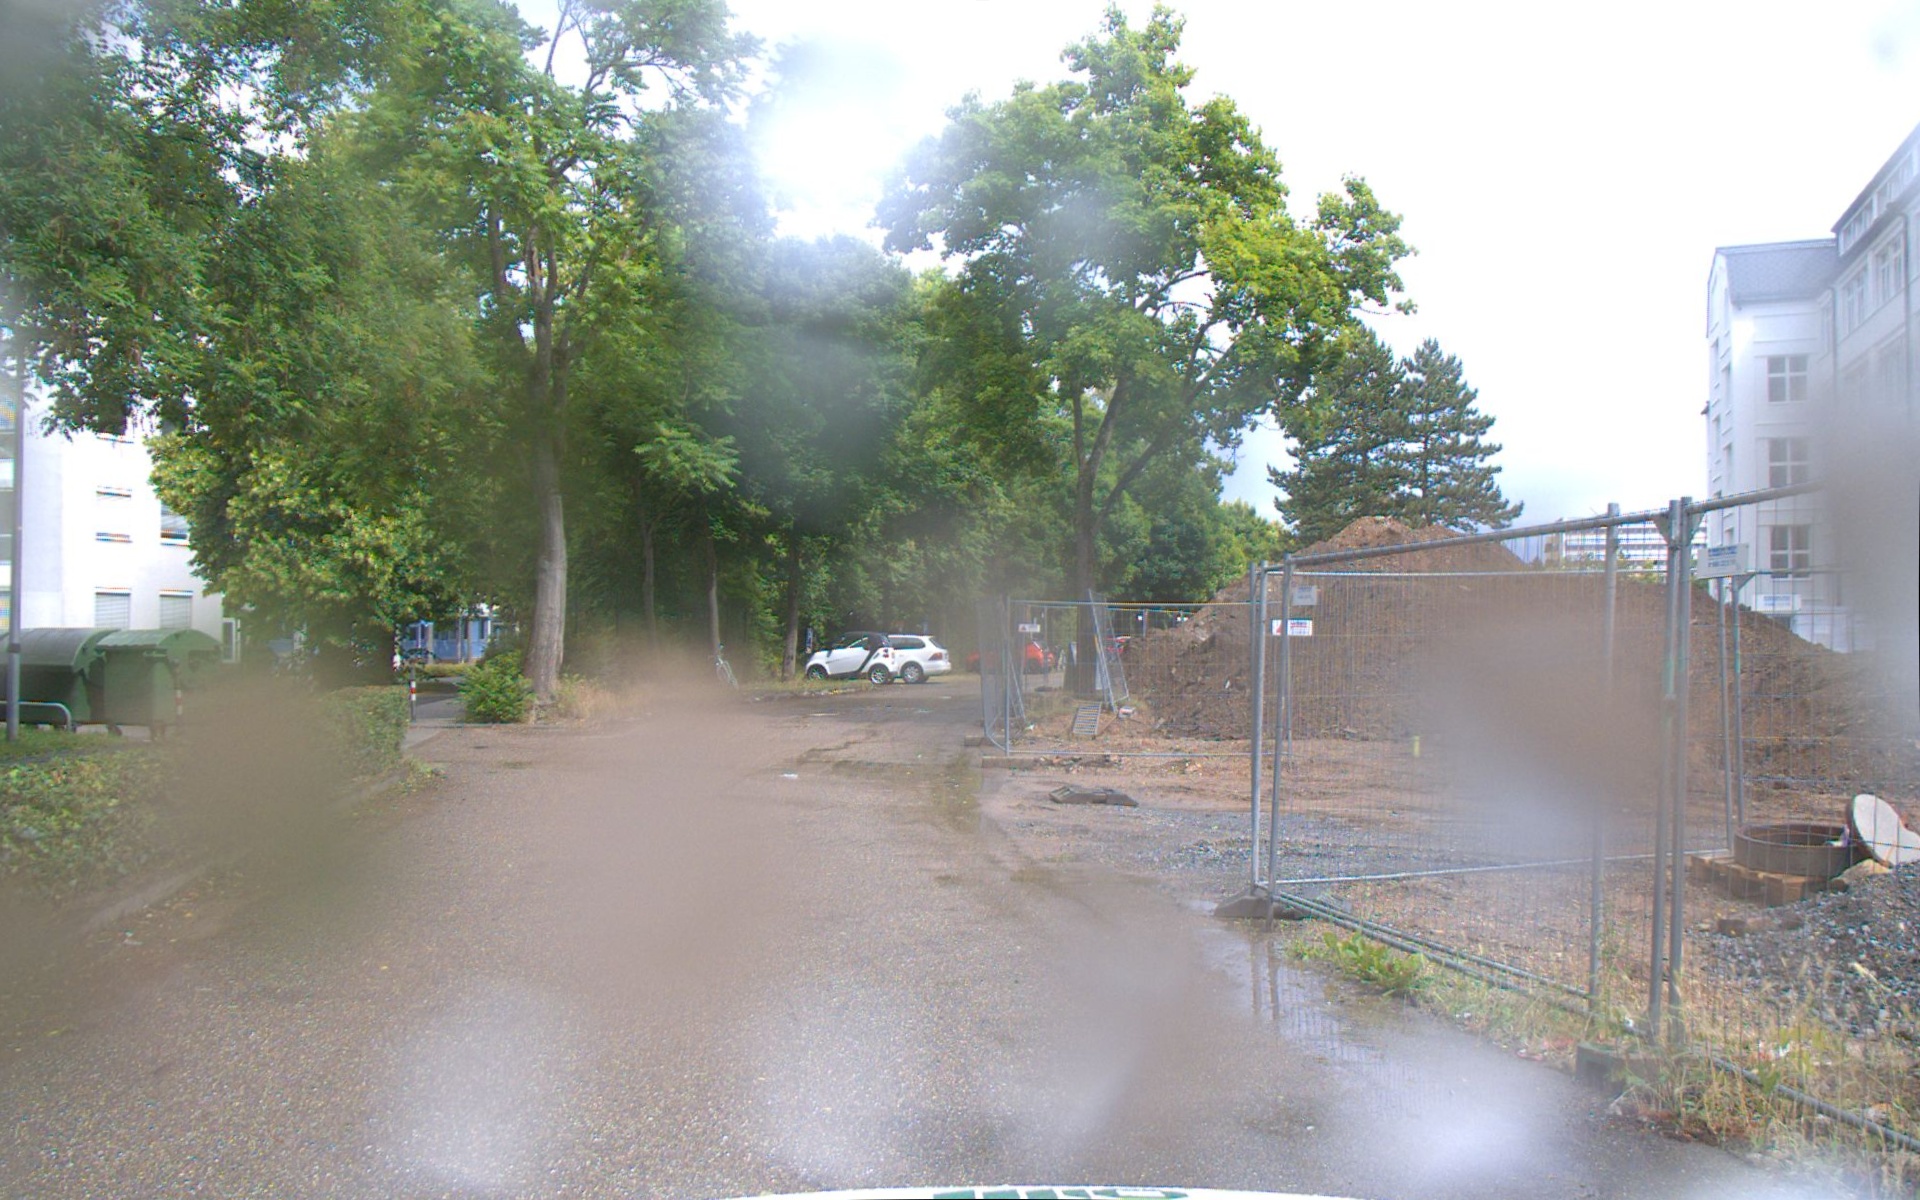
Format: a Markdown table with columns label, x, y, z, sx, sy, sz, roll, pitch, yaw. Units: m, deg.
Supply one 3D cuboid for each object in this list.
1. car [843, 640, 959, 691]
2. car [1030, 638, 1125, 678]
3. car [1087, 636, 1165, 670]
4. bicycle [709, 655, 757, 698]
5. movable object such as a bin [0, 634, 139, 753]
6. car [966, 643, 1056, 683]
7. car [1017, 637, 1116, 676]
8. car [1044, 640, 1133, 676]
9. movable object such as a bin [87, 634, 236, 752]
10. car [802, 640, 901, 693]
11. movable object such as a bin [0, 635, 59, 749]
| label | x | y | z | sx | sy | sz | roll | pitch | yaw |
| --- | --- | --- | --- | --- | --- | --- | --- | --- | --- |
| car | -1.787 | 1.989 | 50.788 | 3.359 | 1.494 | 1.741 | 0 | 0 | 5 |
| car | 5.330 | 2.595 | 74.778 | 4.020 | 1.679 | 1.848 | 1 | 0 | 12 |
| car | 8.574 | 2.725 | 85.333 | 3.774 | 1.601 | 1.960 | 1 | 0 | 13 |
| bicycle | -5.042 | 1.688 | 36.774 | 0.465 | 0.875 | 1.456 | 1 | 0 | 18 |
| movable object such as a bin | -12.016 | 1.230 | 22.116 | 1.368 | 1.509 | 1.169 | 1 | -2 | 11 |
| car | 2.011 | 2.464 | 65.378 | 3.215 | 1.450 | 1.592 | 1 | 0 | 20 |
| car | 4.618 | 2.424 | 71.713 | 3.903 | 1.522 | 1.995 | 1 | 0 | 17 |
| car | 6.001 | 2.672 | 77.102 | 3.858 | 1.543 | 1.807 | 1 | 0 | 13 |
| movable object such as a bin | -10.531 | 1.220 | 21.831 | 1.452 | 1.499 | 1.103 | -1 | -3 | 27 |
| car | -3.164 | 1.944 | 48.618 | 2.695 | 1.510 | 1.594 | 0 | 0 | 5 |
| movable object such as a bin | -13.336 | 1.235 | 22.568 | 1.368 | 1.509 | 1.169 | 0 | -2 | 13 |
